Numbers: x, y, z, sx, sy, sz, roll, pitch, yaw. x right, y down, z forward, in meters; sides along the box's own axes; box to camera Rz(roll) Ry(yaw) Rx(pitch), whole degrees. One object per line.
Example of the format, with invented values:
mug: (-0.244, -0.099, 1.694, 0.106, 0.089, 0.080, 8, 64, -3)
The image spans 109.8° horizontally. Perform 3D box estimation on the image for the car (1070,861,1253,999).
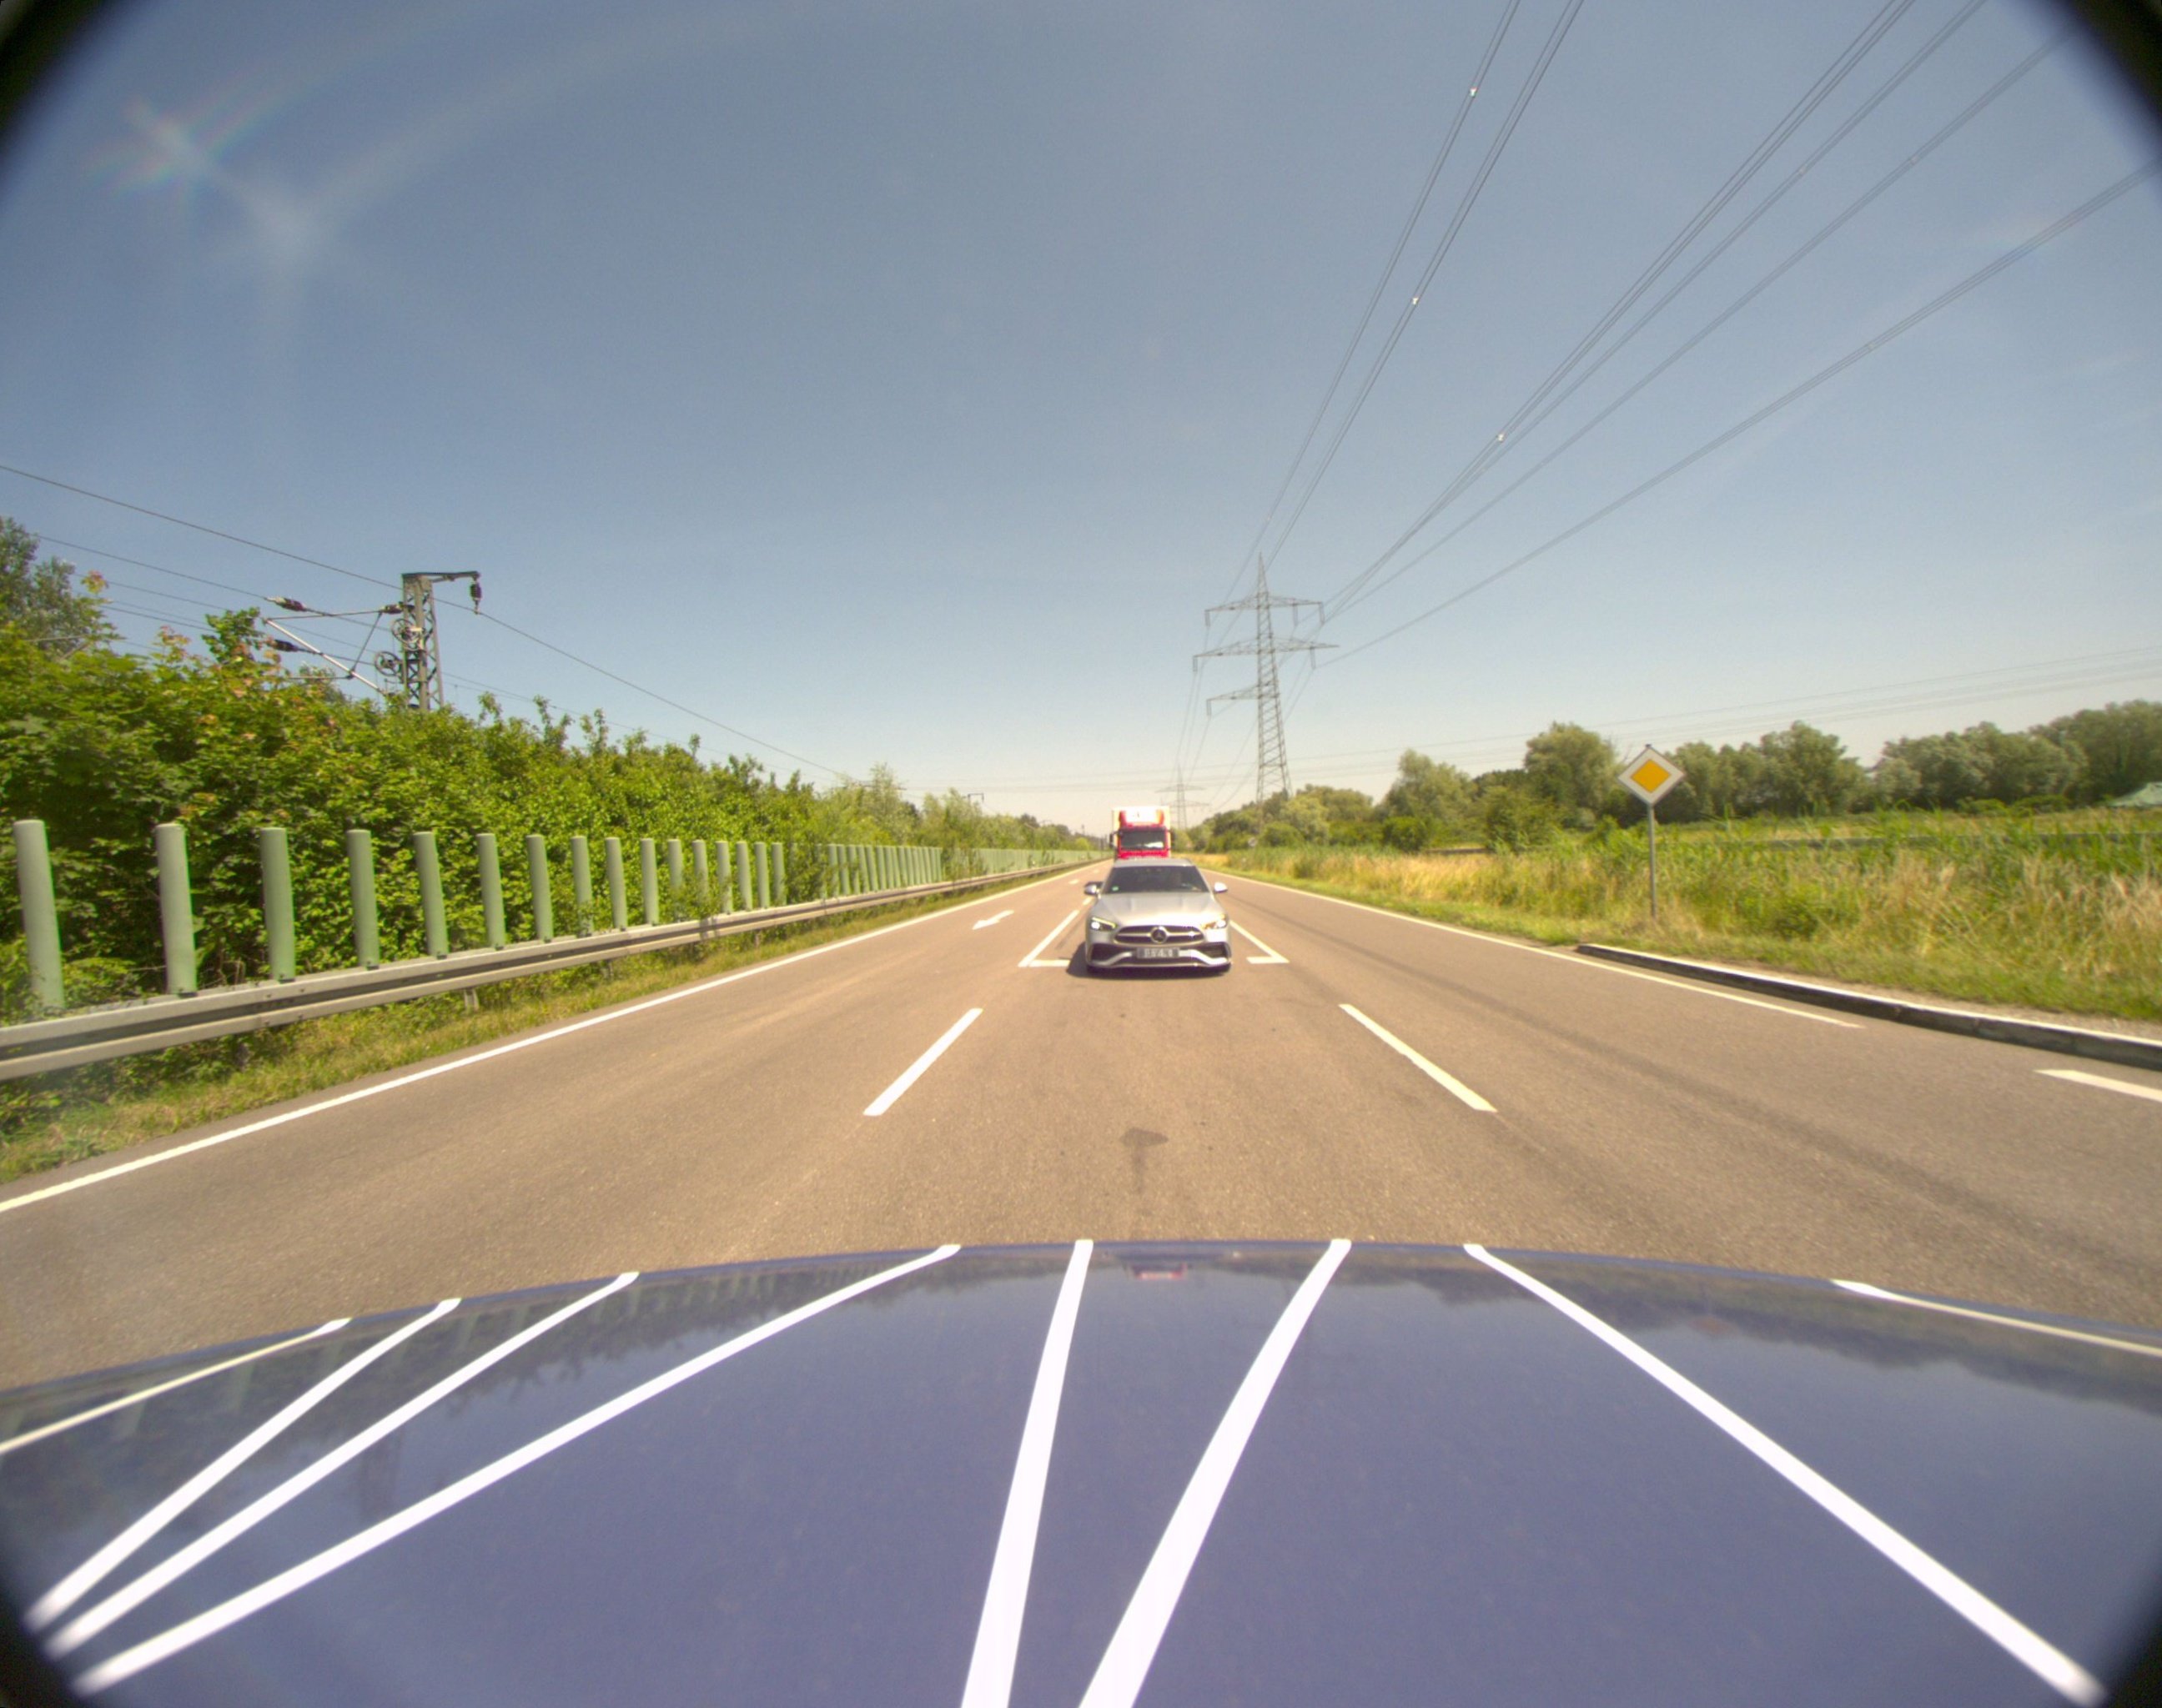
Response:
car: (1.060, 0.873, 10.708, 1.998, 1.437, 4.468, -1, 1, 4)

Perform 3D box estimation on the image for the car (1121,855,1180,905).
car: (2.234, 0.775, 24.441, 1.697, 1.385, 4.469, -1, 0, 5)

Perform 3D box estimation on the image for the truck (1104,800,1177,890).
truck: (2.798, -0.406, 35.952, 2.906, 3.641, 7.157, -3, 0, 4)
